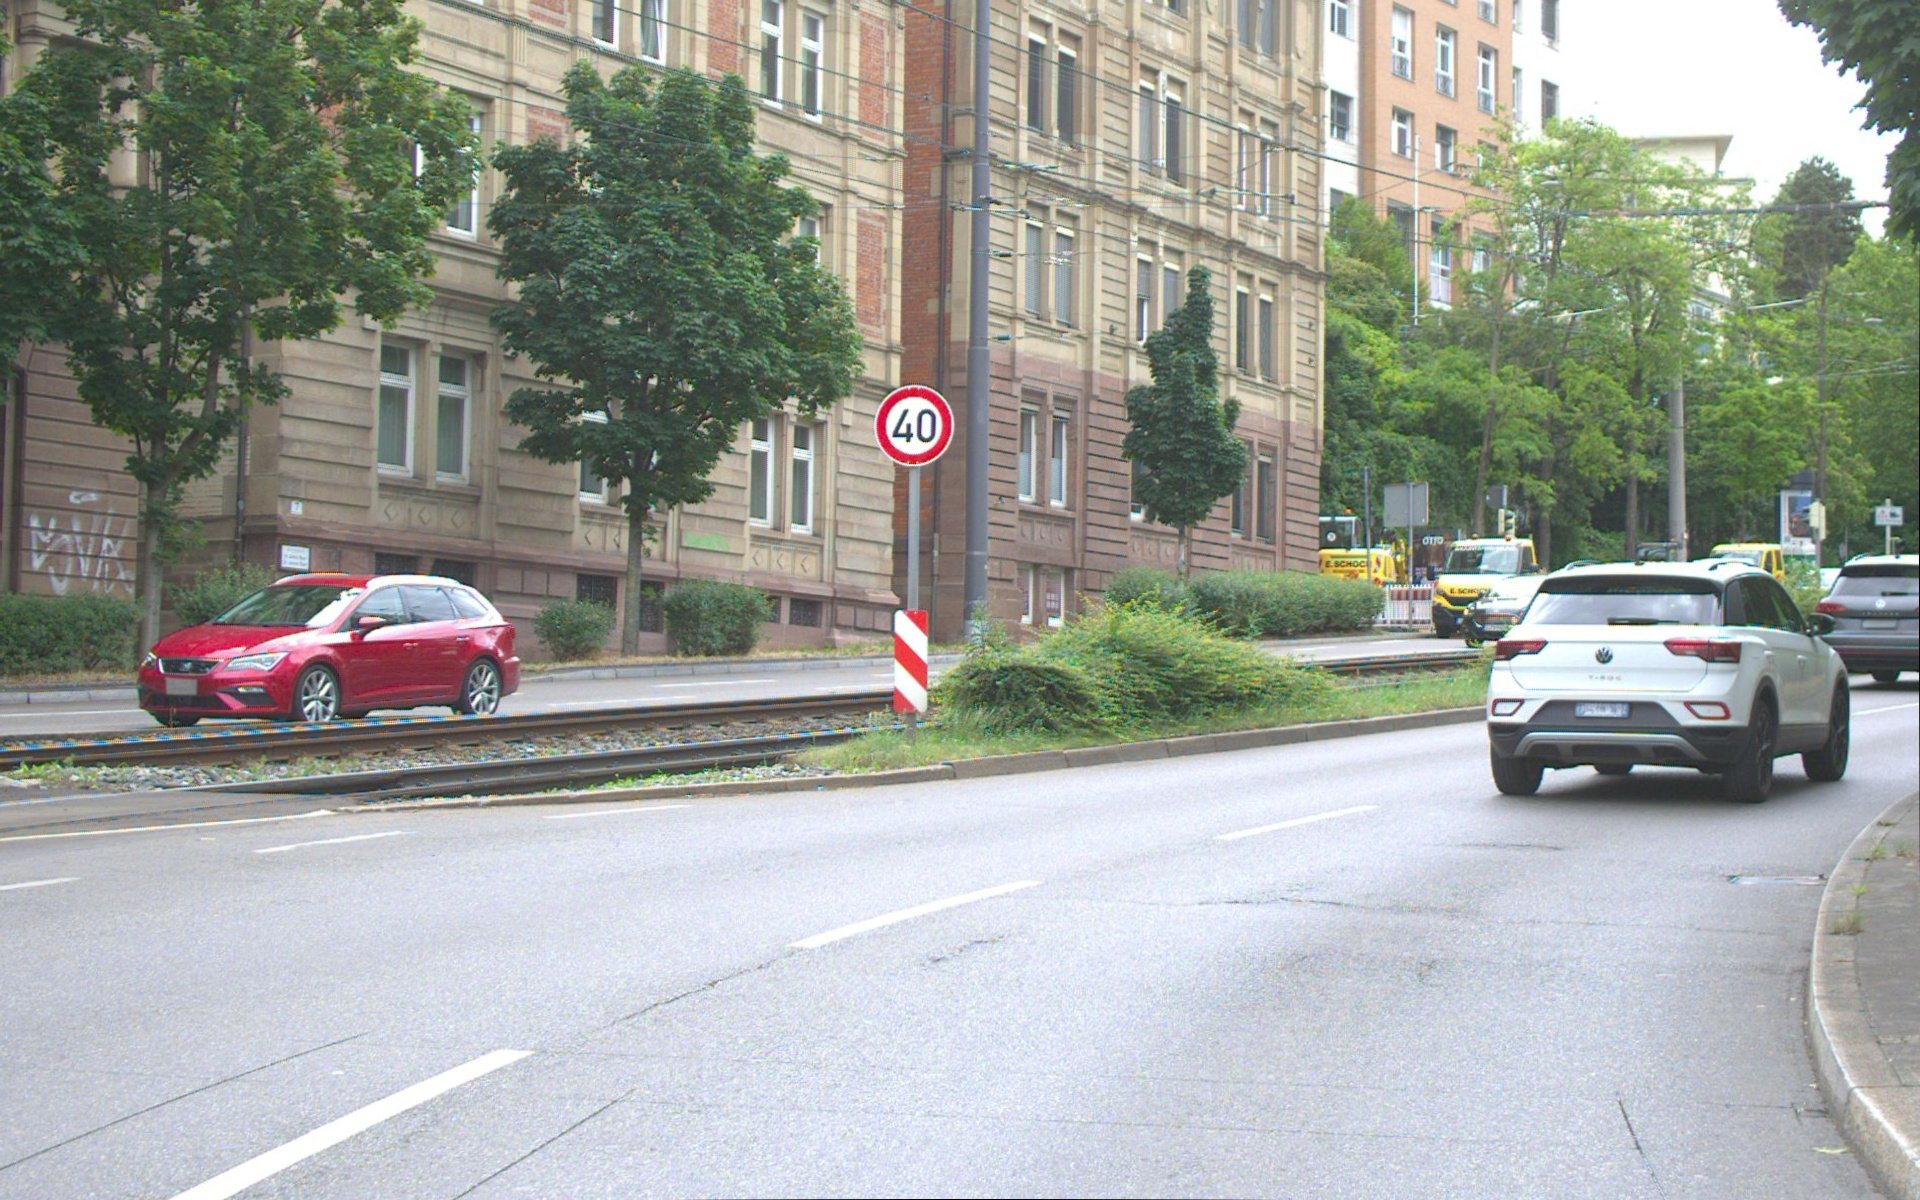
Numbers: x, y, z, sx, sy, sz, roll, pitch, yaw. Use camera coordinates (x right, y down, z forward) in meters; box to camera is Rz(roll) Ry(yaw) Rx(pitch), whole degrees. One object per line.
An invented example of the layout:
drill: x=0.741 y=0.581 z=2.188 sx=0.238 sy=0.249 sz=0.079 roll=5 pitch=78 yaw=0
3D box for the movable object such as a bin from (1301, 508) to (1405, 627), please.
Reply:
movable object such as a bin: x=9.518 y=-0.772 z=83.126 sx=1.996 sy=2.828 sz=2.027 roll=0 pitch=0 yaw=23

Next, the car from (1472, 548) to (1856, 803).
car: x=4.916 y=0.484 z=23.582 sx=1.940 sy=1.561 sz=4.041 roll=1 pitch=0 yaw=21

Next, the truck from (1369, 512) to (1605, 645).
truck: x=12.348 y=-0.448 z=80.028 sx=2.922 sy=2.501 sz=7.142 roll=7 pitch=2 yaw=28

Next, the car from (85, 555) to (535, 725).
car: x=-6.144 y=0.412 z=33.027 sx=1.996 sy=1.514 sz=4.399 roll=-1 pitch=-2 yaw=27

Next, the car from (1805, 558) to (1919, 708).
car: x=11.987 y=0.376 z=43.243 sx=1.842 sy=1.733 sz=3.995 roll=1 pitch=2 yaw=26

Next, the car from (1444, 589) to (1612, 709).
car: x=11.528 y=1.017 z=69.455 sx=1.822 sy=1.446 sz=4.936 roll=2 pitch=-11 yaw=28
